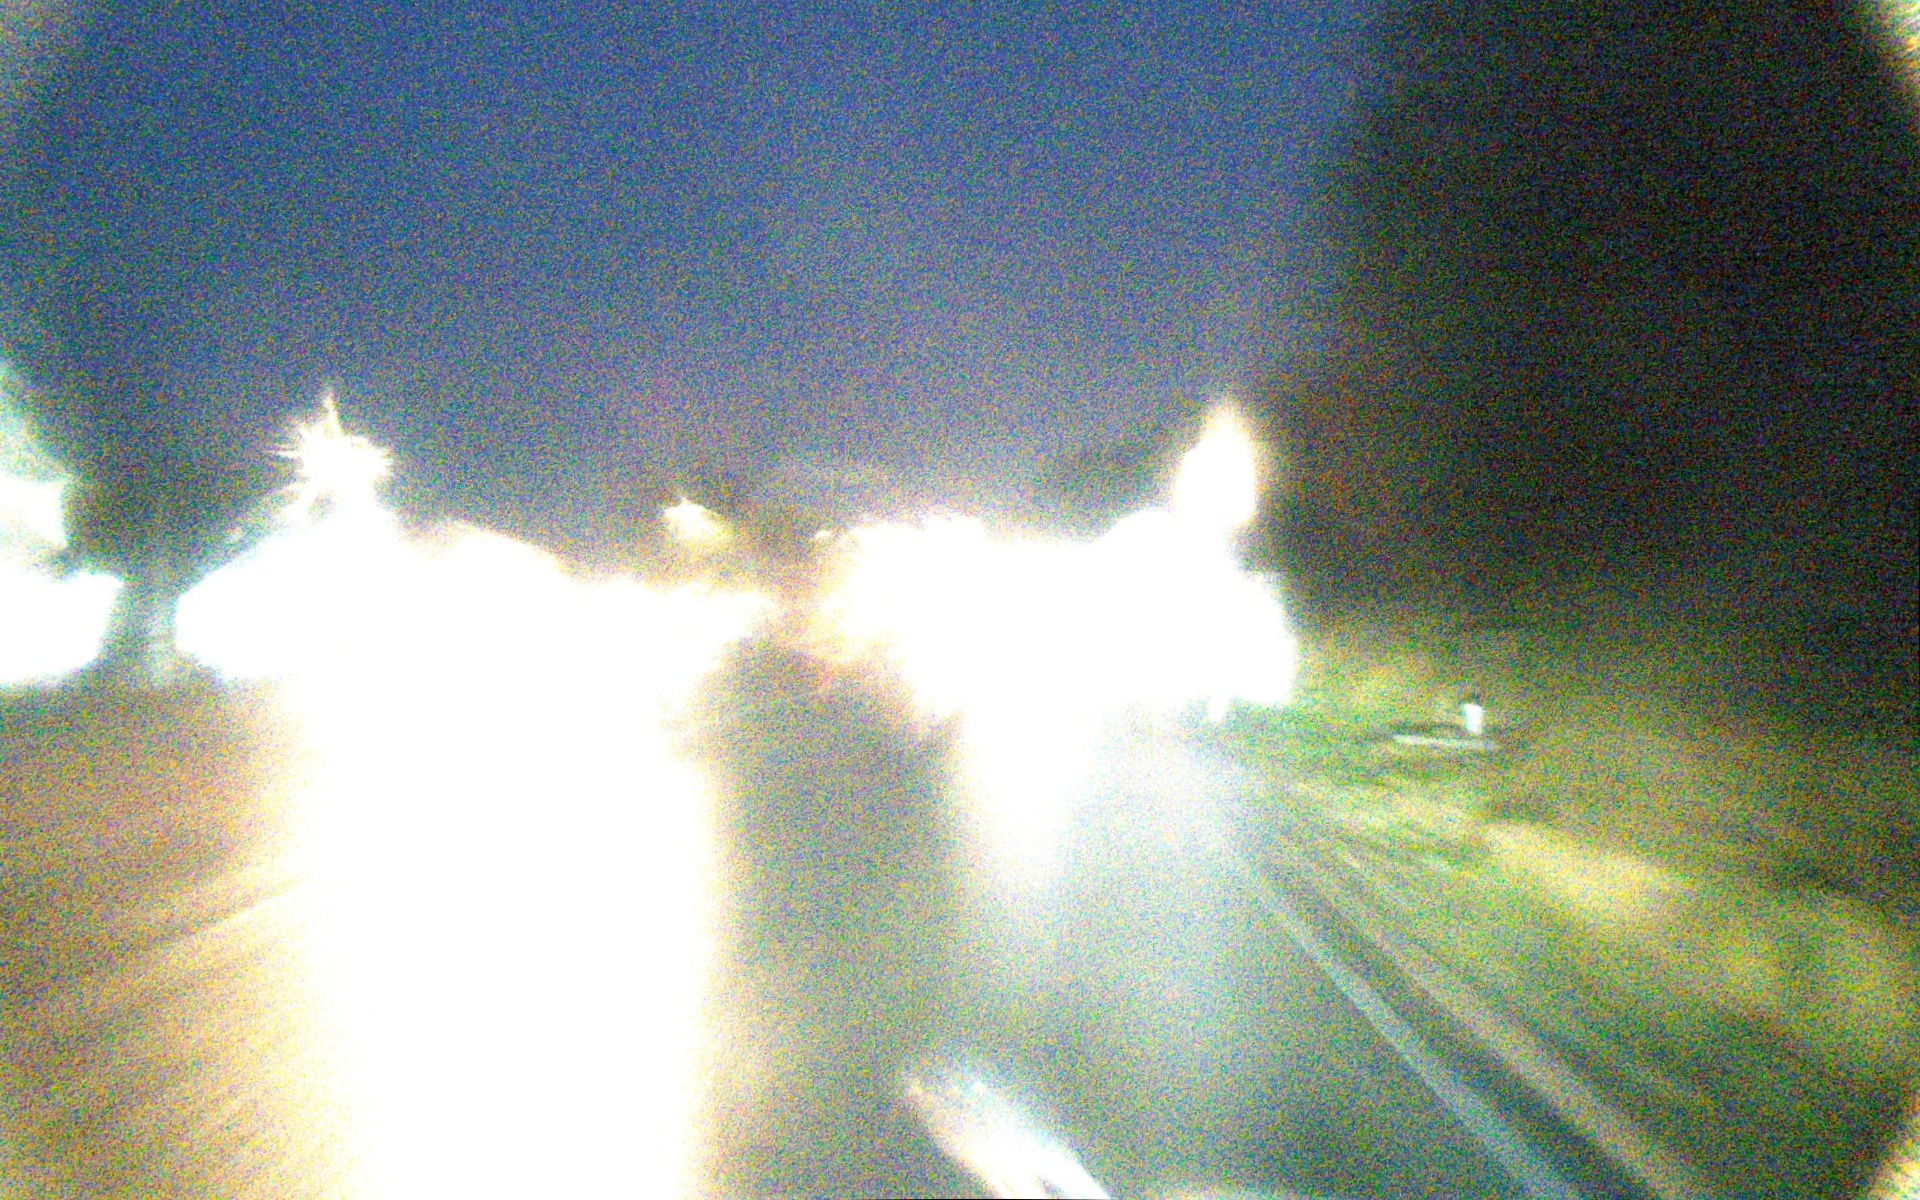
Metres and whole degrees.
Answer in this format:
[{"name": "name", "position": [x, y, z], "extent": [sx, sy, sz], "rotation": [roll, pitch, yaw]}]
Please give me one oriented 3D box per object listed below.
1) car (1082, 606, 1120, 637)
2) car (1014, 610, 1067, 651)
[{"name": "car", "position": [7.637, 1.187, 89.537], "extent": [1.951, 1.630, 4.002], "rotation": [0, -1, 6]}, {"name": "car", "position": [3.367, 1.287, 68.643], "extent": [1.951, 1.630, 4.002], "rotation": [0, -1, 6]}]
